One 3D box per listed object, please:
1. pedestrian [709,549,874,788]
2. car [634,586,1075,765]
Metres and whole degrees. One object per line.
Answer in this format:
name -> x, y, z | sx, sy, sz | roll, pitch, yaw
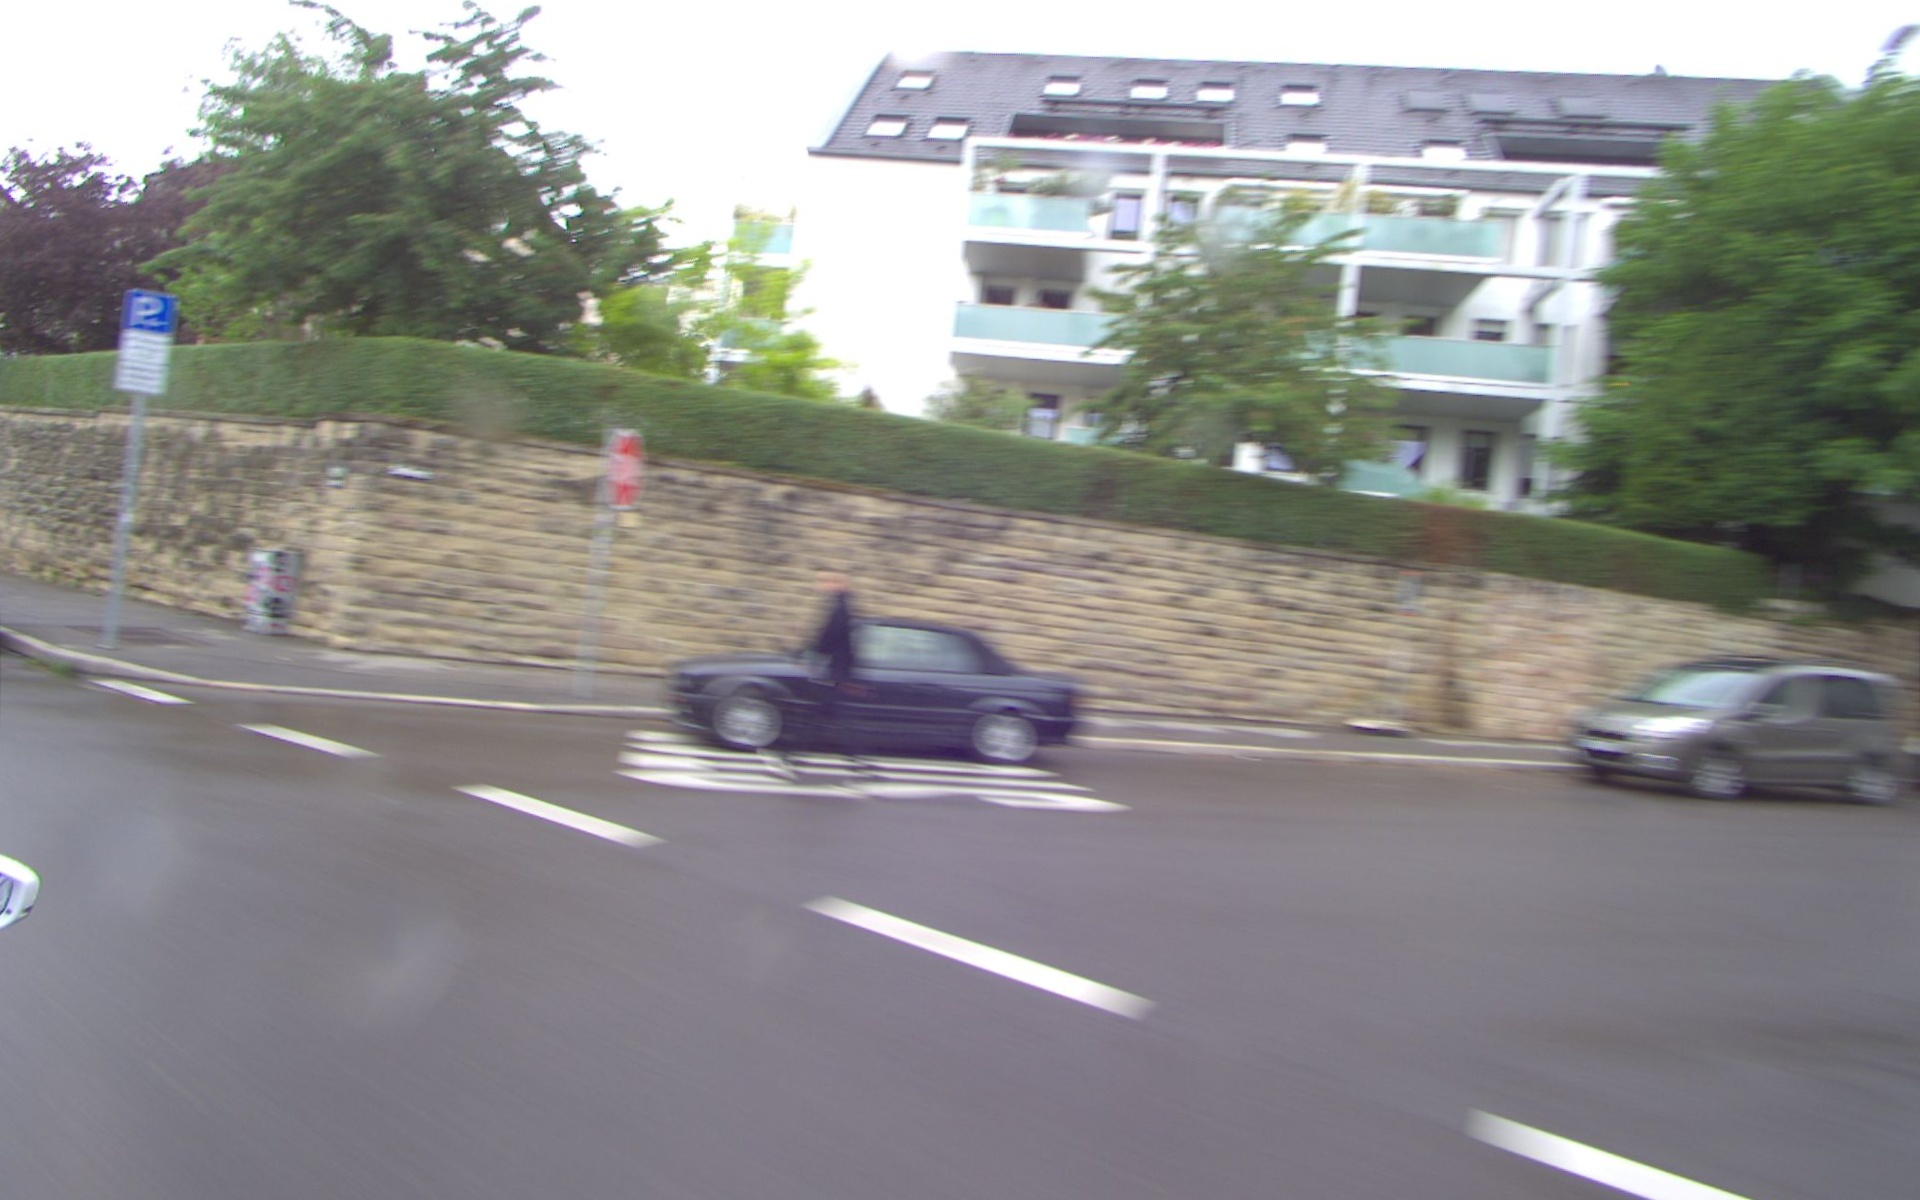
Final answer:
pedestrian -> -1.335, 0.528, 8.030 | 0.889, 1.736, 0.725 | 6, 0, 26
car -> -1.128, 0.780, 10.560 | 4.212, 1.409, 1.747 | 6, -1, -17
